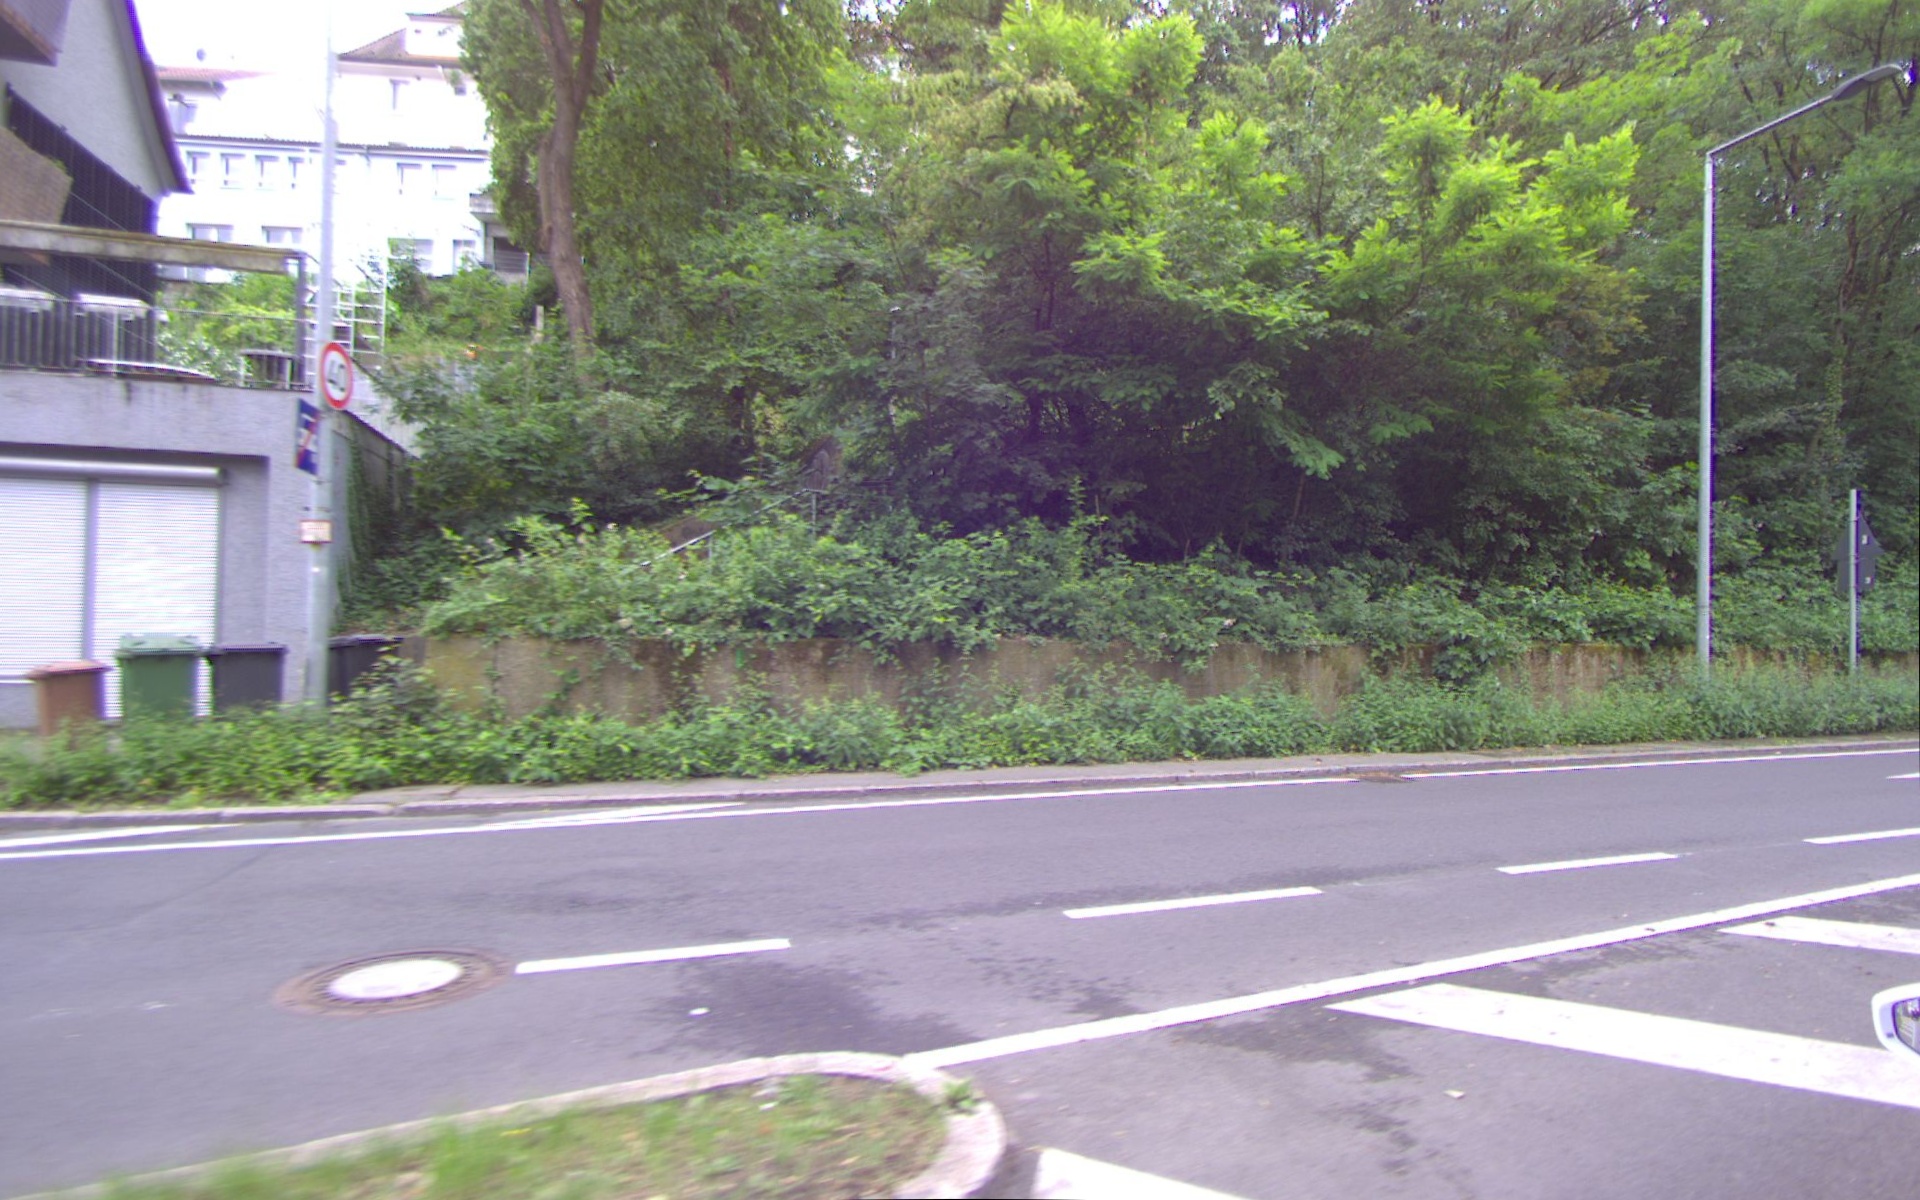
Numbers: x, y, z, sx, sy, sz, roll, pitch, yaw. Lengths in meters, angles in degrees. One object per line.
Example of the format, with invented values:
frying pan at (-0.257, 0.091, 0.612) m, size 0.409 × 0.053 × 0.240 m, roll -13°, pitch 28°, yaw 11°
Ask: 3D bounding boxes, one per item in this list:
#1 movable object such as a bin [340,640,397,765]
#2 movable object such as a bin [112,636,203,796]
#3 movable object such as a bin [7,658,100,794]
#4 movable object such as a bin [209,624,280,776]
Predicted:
movable object such as a bin at (-5.285, 0.898, 8.987) m, size 0.425 × 1.039 × 0.553 m, roll 0°, pitch 2°, yaw -30°
movable object such as a bin at (-6.523, 0.920, 8.188) m, size 0.486 × 1.202 × 0.602 m, roll 0°, pitch 2°, yaw -30°
movable object such as a bin at (-7.164, 0.979, 7.955) m, size 0.439 × 0.980 × 0.513 m, roll 0°, pitch 2°, yaw -30°
movable object such as a bin at (-6.030, 0.821, 8.487) m, size 0.425 × 1.202 × 0.578 m, roll 0°, pitch 2°, yaw -30°
